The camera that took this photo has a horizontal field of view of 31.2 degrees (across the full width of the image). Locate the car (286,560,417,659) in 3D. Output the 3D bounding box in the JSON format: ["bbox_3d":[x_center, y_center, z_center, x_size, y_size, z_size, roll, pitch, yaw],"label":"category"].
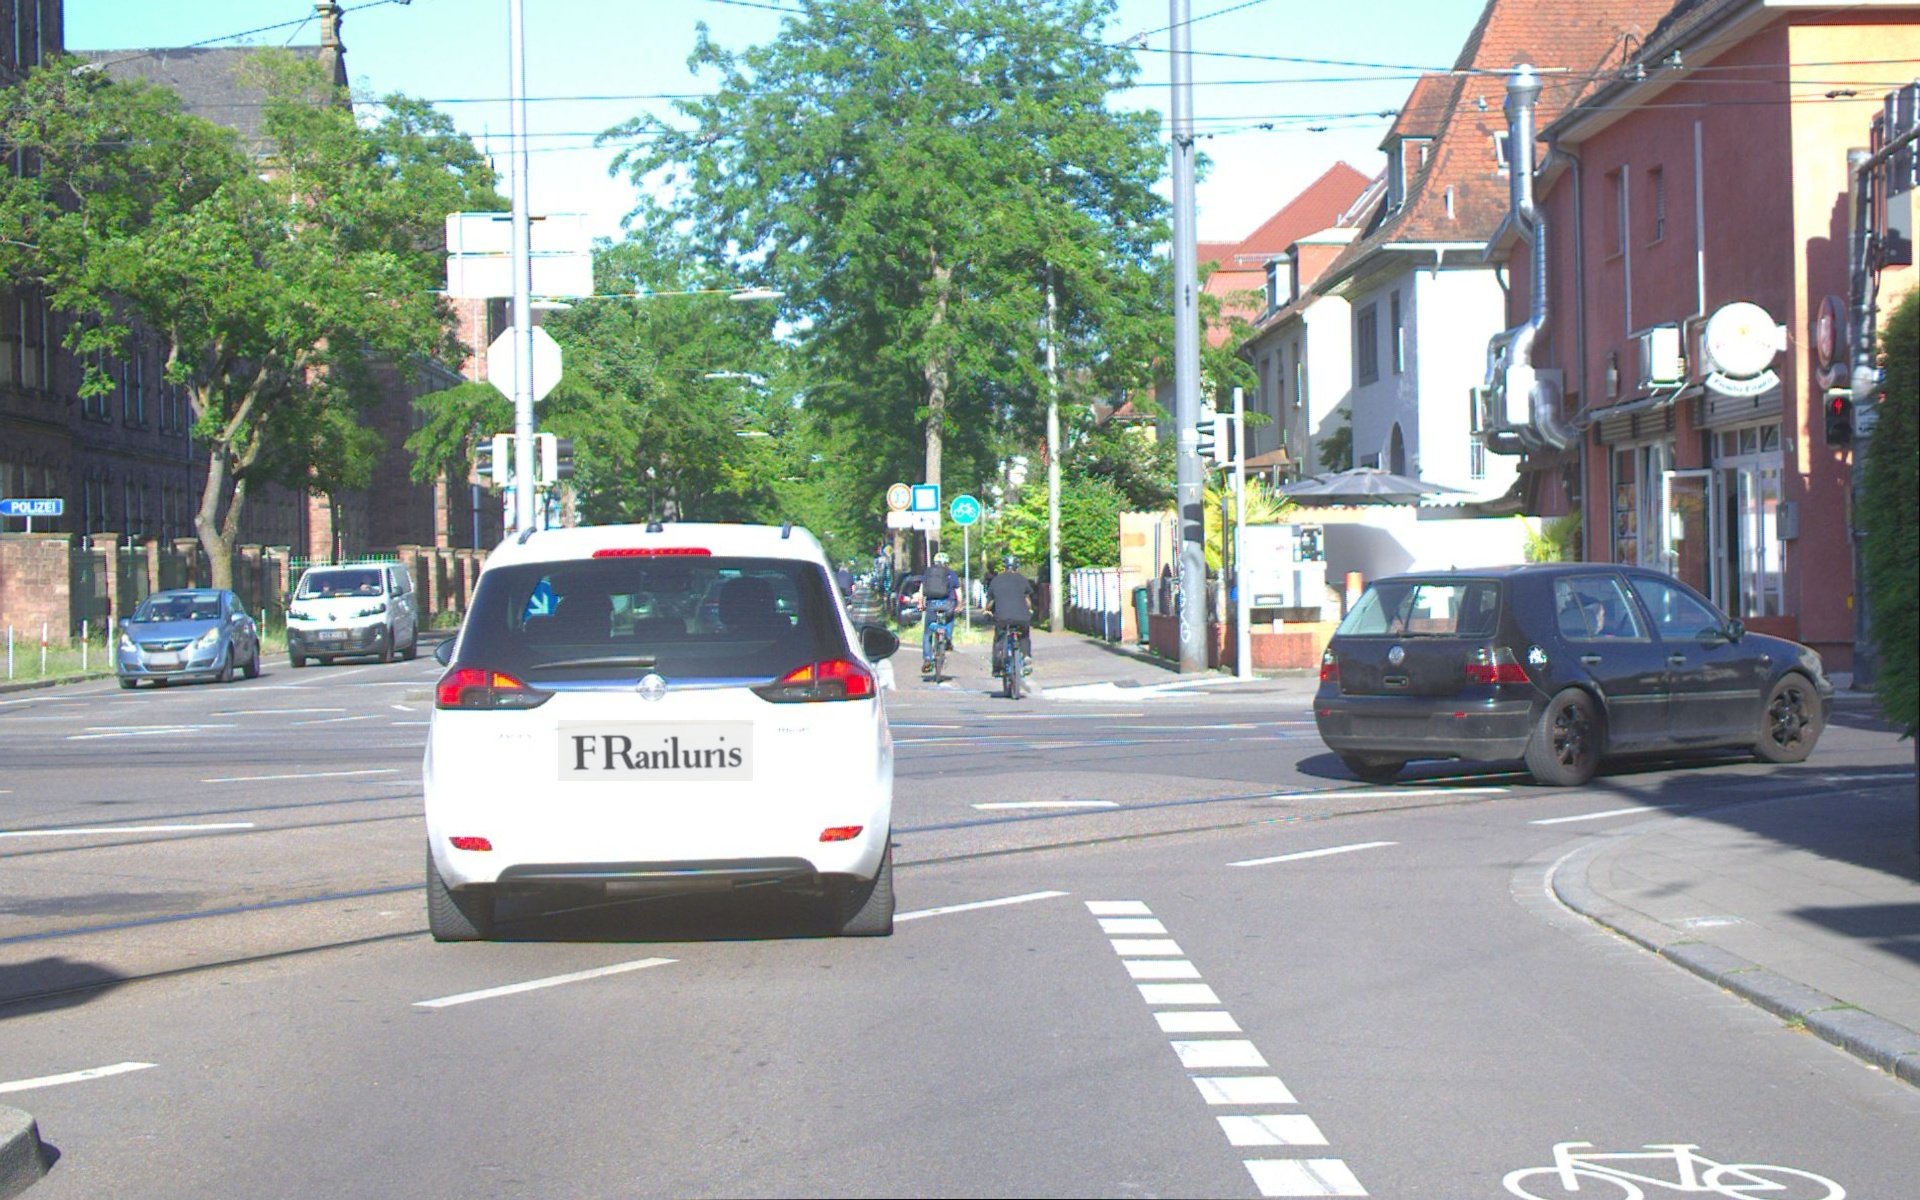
[{"bbox_3d":[-11.387,0.165,64.537,1.892,1.777,3.881,0,0,-2],"label":"car"}]

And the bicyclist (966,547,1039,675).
[{"bbox_3d":[0.500,0.128,40.913,0.821,1.496,0.934,0,0,-1],"label":"bicyclist"}]

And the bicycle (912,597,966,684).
[{"bbox_3d":[-0.282,0.537,46.901,0.685,1.153,1.619,0,0,1],"label":"bicycle"}]

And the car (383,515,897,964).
[{"bbox_3d":[-1.210,0.504,14.571,1.835,1.636,3.919,0,0,0],"label":"car"}]

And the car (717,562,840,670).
[{"bbox_3d":[-2.811,0.235,53.972,1.776,1.626,3.881,0,0,-1],"label":"car"}]

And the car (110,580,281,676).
[{"bbox_3d":[-11.821,0.413,53.343,1.581,1.436,3.583,0,0,5],"label":"car"}]

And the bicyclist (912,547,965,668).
[{"bbox_3d":[-0.285,0.097,46.984,0.685,1.629,1.015,0,0,1],"label":"bicyclist"}]

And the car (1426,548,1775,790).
[{"bbox_3d":[4.099,0.385,22.531,1.586,1.415,3.900,-1,1,1],"label":"car"}]

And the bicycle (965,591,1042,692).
[{"bbox_3d":[0.502,0.478,40.796,0.829,1.150,2.095,0,0,-2],"label":"bicycle"}]

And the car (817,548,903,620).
[{"bbox_3d":[-2.324,-0.371,80.703,1.776,1.626,3.880,0,0,2],"label":"car"}]
